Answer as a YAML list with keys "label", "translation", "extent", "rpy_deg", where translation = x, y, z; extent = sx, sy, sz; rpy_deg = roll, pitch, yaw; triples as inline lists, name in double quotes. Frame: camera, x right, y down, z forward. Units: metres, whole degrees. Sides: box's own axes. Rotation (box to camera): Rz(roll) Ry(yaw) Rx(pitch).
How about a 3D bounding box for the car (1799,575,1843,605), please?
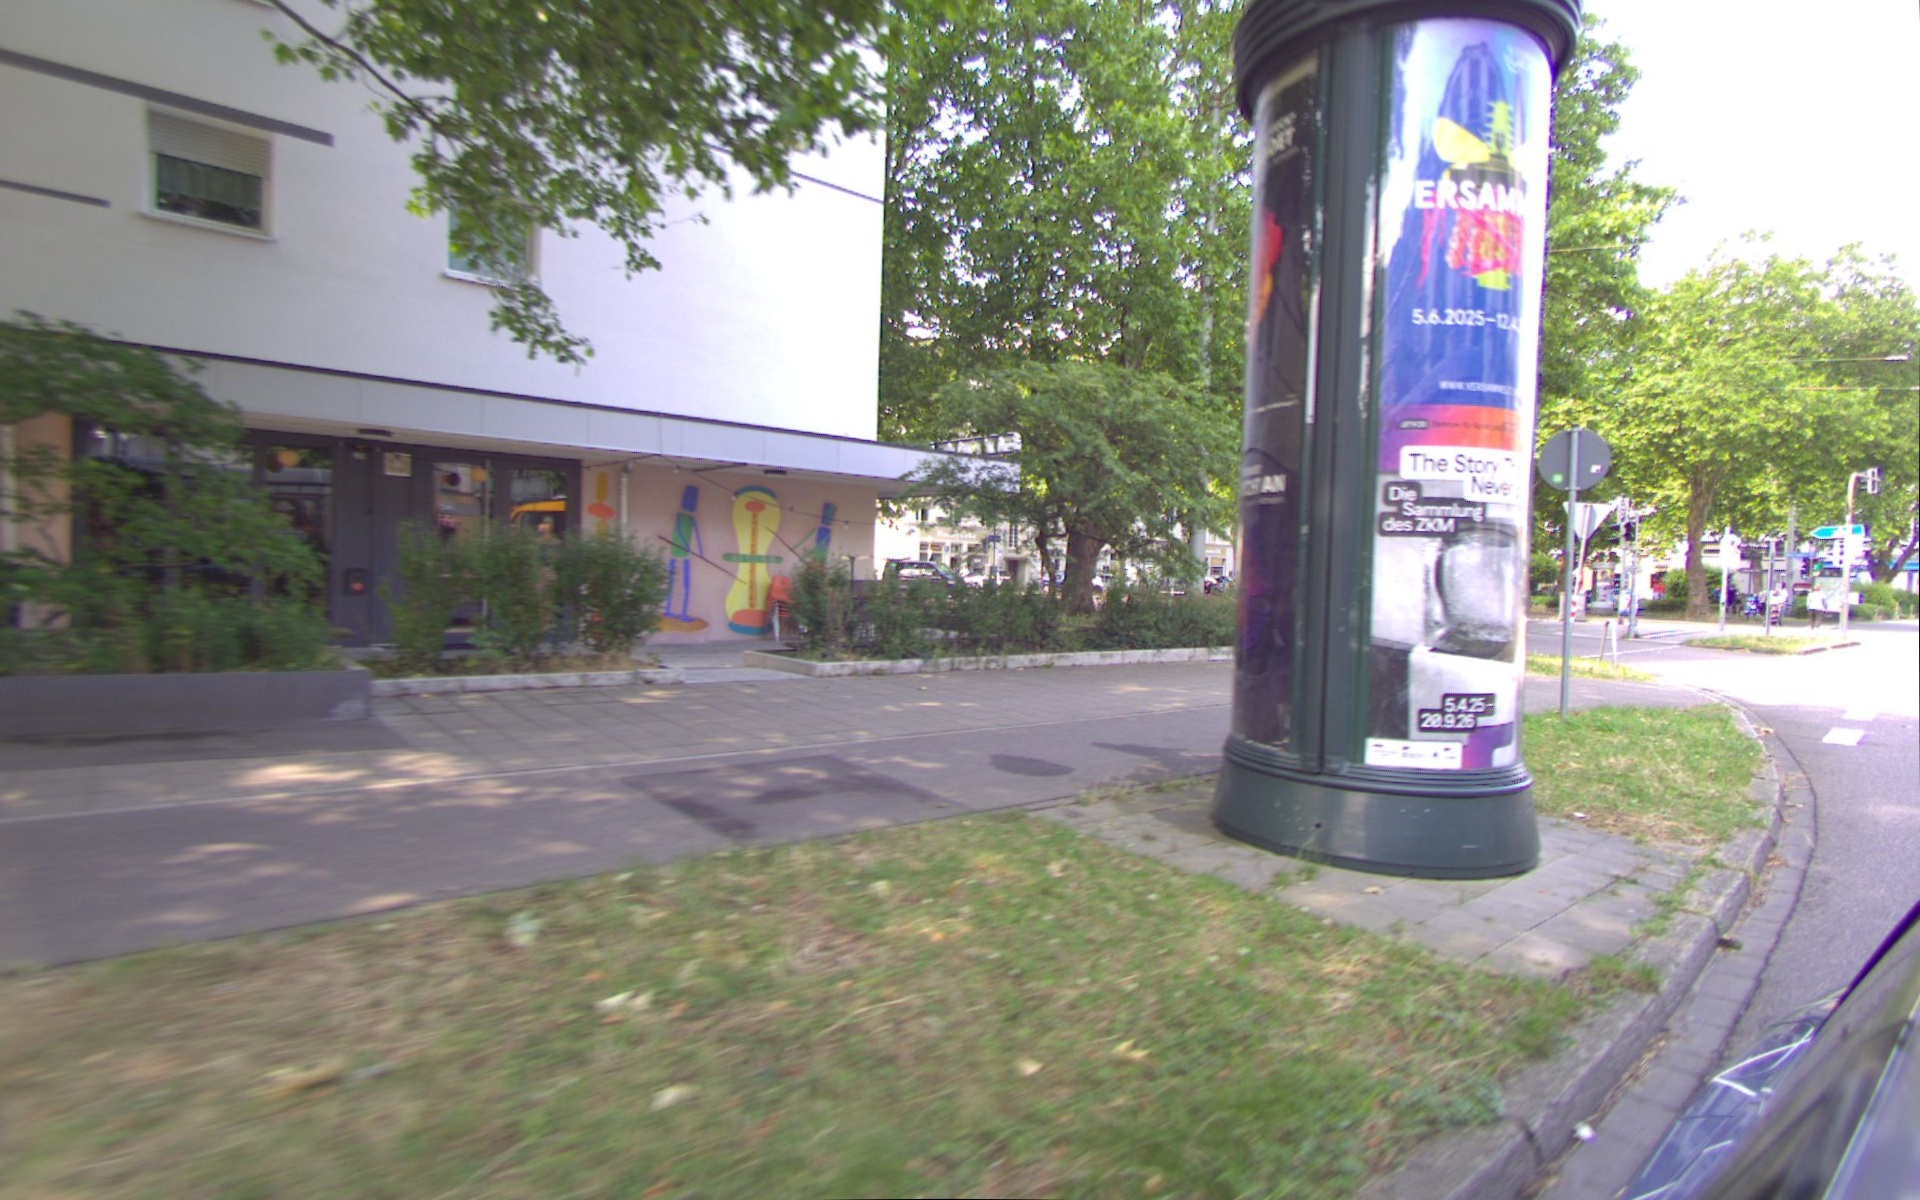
- label: "car"
  translation: [73.159, -0.823, 86.002]
  extent: [3.927, 2.450, 2.111]
  rpy_deg: [0, 2, -39]

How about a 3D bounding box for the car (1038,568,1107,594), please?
- label: "car"
  translation: [7.625, -1.306, 69.071]
  extent: [1.999, 1.620, 4.533]
  rpy_deg: [0, 2, -41]

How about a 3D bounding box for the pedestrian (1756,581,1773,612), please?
- label: "pedestrian"
  translation: [47.552, -0.214, 59.832]
  extent: [0.600, 1.772, 0.692]
  rpy_deg: [2, 1, 27]

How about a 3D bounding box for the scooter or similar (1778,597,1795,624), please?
- label: "scooter or similar"
  translation: [34.609, 0.438, 42.383]
  extent: [0.488, 1.069, 0.698]
  rpy_deg: [3, 2, 39]

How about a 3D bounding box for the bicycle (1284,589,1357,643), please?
- label: "bicycle"
  translation: [7.351, 0.311, 20.715]
  extent: [0.523, 1.021, 1.732]
  rpy_deg: [1, 1, -13]

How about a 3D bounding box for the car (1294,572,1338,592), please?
- label: "car"
  translation: [38.355, -1.956, 109.096]
  extent: [1.963, 1.988, 3.999]
  rpy_deg: [0, 2, -37]

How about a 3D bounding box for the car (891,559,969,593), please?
- label: "car"
  translation: [-1.598, -1.274, 53.726]
  extent: [3.715, 1.681, 1.850]
  rpy_deg: [3, 2, 28]

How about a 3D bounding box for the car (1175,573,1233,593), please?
- label: "car"
  translation: [19.066, -1.331, 79.168]
  extent: [1.964, 1.439, 3.997]
  rpy_deg: [0, 2, -39]

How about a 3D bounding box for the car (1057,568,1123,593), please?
- label: "car"
  translation: [9.151, -1.394, 71.430]
  extent: [1.878, 1.711, 4.533]
  rpy_deg: [0, 2, -41]

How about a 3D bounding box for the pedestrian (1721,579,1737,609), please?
- label: "pedestrian"
  translation: [46.588, -0.373, 61.297]
  extent: [0.600, 1.772, 0.692]
  rpy_deg: [2, 1, 27]

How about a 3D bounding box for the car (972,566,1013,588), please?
- label: "car"
  translation: [2.557, -1.796, 79.519]
  extent: [1.445, 1.686, 3.061]
  rpy_deg: [0, 2, -43]

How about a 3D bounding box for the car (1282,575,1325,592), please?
- label: "car"
  translation: [36.414, -1.731, 107.333]
  extent: [1.712, 1.657, 3.999]
  rpy_deg: [0, 2, -37]

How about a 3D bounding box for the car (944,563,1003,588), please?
- label: "car"
  translation: [1.025, -1.902, 77.799]
  extent: [1.879, 1.818, 4.713]
  rpy_deg: [0, 2, -41]

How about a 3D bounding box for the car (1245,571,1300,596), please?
- label: "car"
  translation: [26.495, -1.386, 85.968]
  extent: [1.965, 2.038, 3.995]
  rpy_deg: [0, 2, -41]

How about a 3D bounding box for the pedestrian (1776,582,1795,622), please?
- label: "pedestrian"
  translation: [35.112, 0.064, 43.033]
  extent: [0.567, 1.666, 0.910]
  rpy_deg: [3, 2, 39]

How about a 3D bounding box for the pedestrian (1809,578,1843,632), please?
- label: "pedestrian"
  translation: [29.854, 0.176, 34.885]
  extent: [0.870, 1.805, 0.694]
  rpy_deg: [1, 1, -37]

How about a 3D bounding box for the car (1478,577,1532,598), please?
- label: "car"
  translation: [51.399, -1.186, 95.507]
  extent: [1.835, 1.822, 3.999]
  rpy_deg: [0, 2, -37]
